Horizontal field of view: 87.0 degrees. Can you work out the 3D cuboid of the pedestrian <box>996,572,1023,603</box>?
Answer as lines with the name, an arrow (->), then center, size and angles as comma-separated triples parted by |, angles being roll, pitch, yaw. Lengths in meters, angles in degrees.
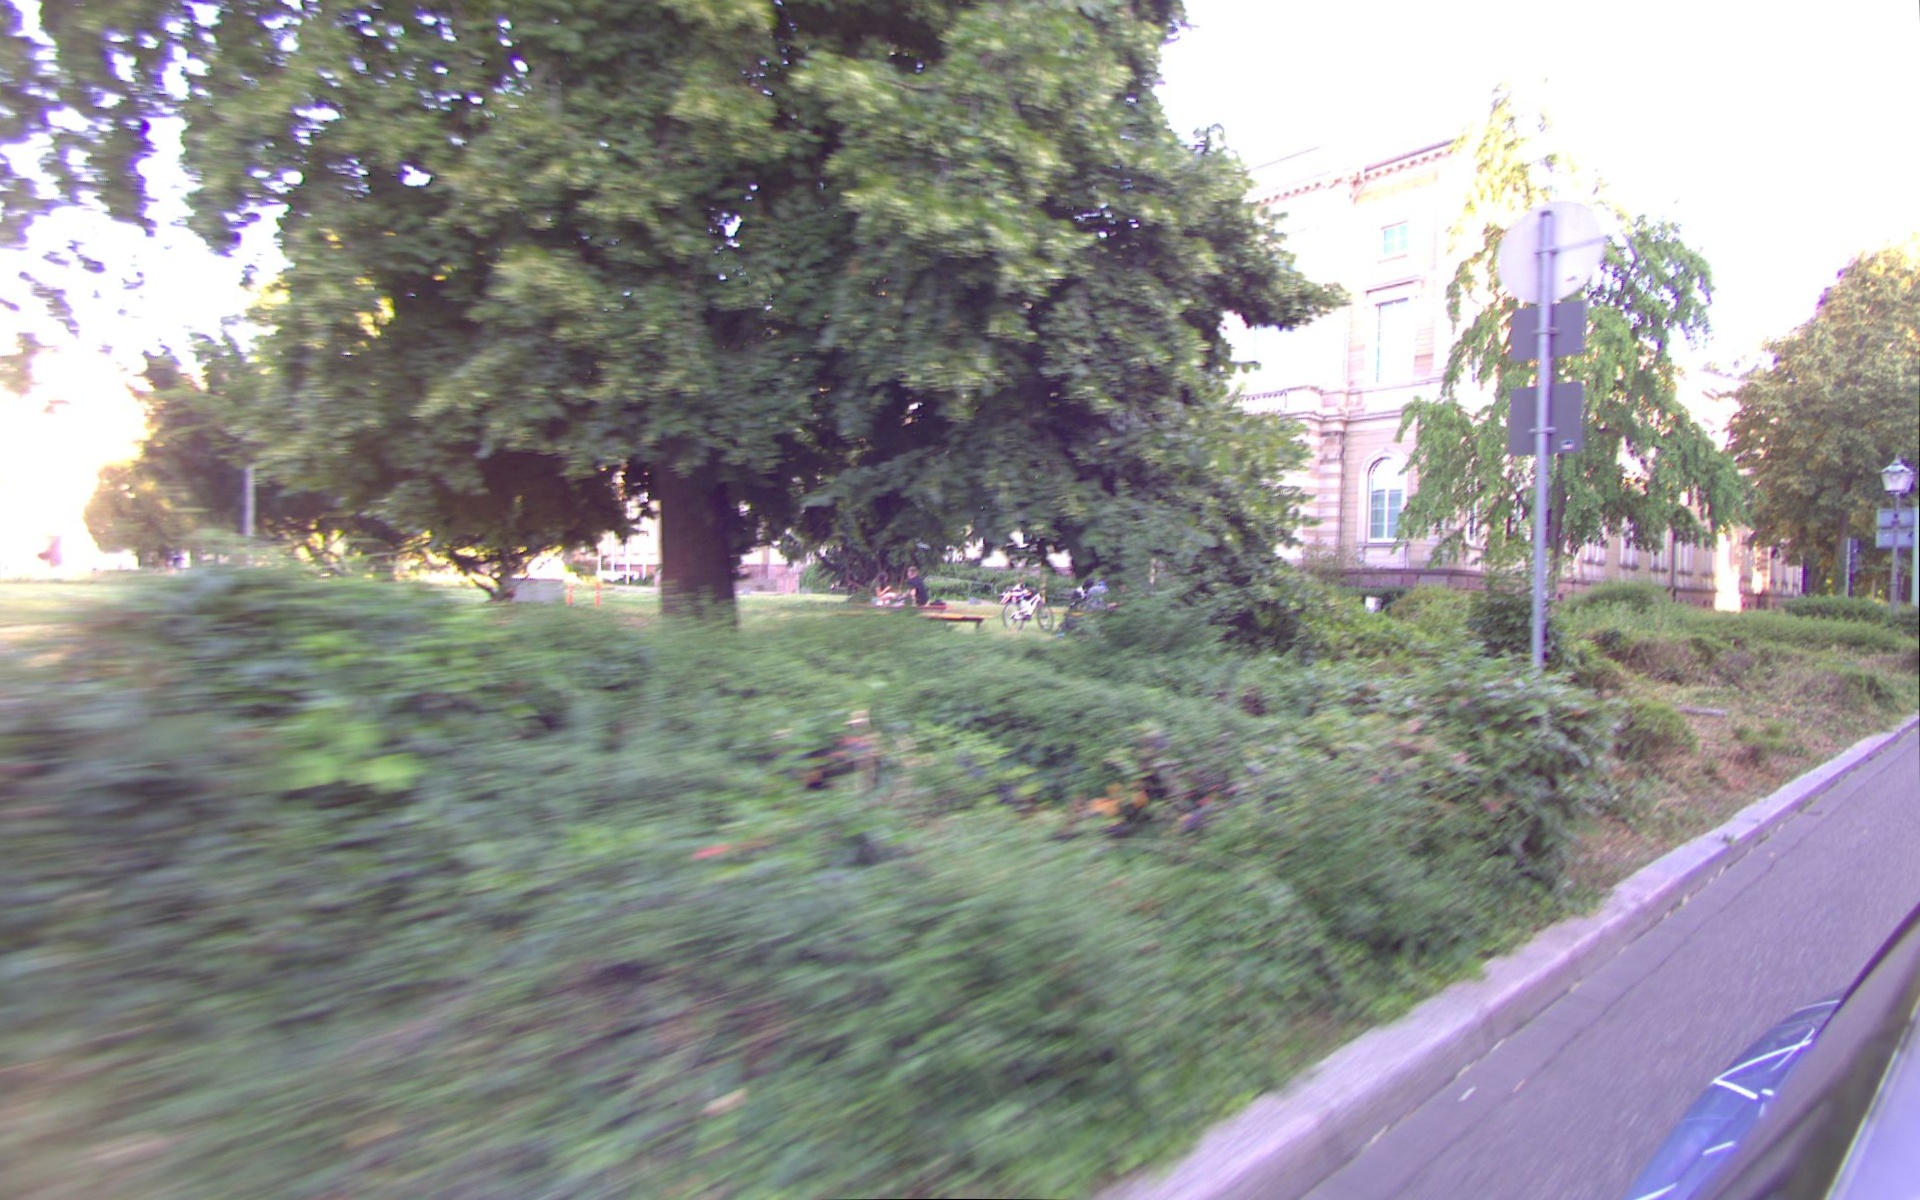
pedestrian -> 2.313, -0.608, 47.570 | 1.026, 1.414, 0.695 | 1, 1, -41

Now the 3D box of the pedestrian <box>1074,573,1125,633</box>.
pedestrian -> 2.899, 0.056, 21.019 | 0.733, 1.206, 0.724 | 1, 1, -37

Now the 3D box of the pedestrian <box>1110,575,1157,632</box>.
pedestrian -> 3.776, 0.065, 22.058 | 0.778, 1.206, 0.666 | 1, 1, -13

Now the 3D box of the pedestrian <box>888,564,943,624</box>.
pedestrian -> -1.037, -0.149, 23.653 | 0.913, 1.364, 0.874 | 2, 1, 34

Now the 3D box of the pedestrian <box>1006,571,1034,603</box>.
pedestrian -> 2.777, -0.603, 46.803 | 1.026, 1.414, 0.695 | 1, 1, -41

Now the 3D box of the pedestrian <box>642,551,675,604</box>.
pedestrian -> -10.098, -0.755, 33.880 | 0.746, 1.769, 0.771 | 1, 1, -44

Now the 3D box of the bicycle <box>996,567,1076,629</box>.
bicycle -> 1.708, -0.044, 22.550 | 0.620, 1.316, 1.986 | 3, 2, 45

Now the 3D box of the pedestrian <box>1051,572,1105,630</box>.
pedestrian -> 2.526, 0.018, 21.720 | 0.774, 1.206, 0.809 | 1, 1, -37

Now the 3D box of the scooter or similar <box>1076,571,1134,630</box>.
scooter or similar -> 3.242, -0.004, 22.672 | 1.212, 1.261, 0.413 | 2, 1, 34

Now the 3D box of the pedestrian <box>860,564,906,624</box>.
pedestrian -> -1.825, -0.147, 24.037 | 0.756, 1.364, 0.778 | 2, 1, 33
